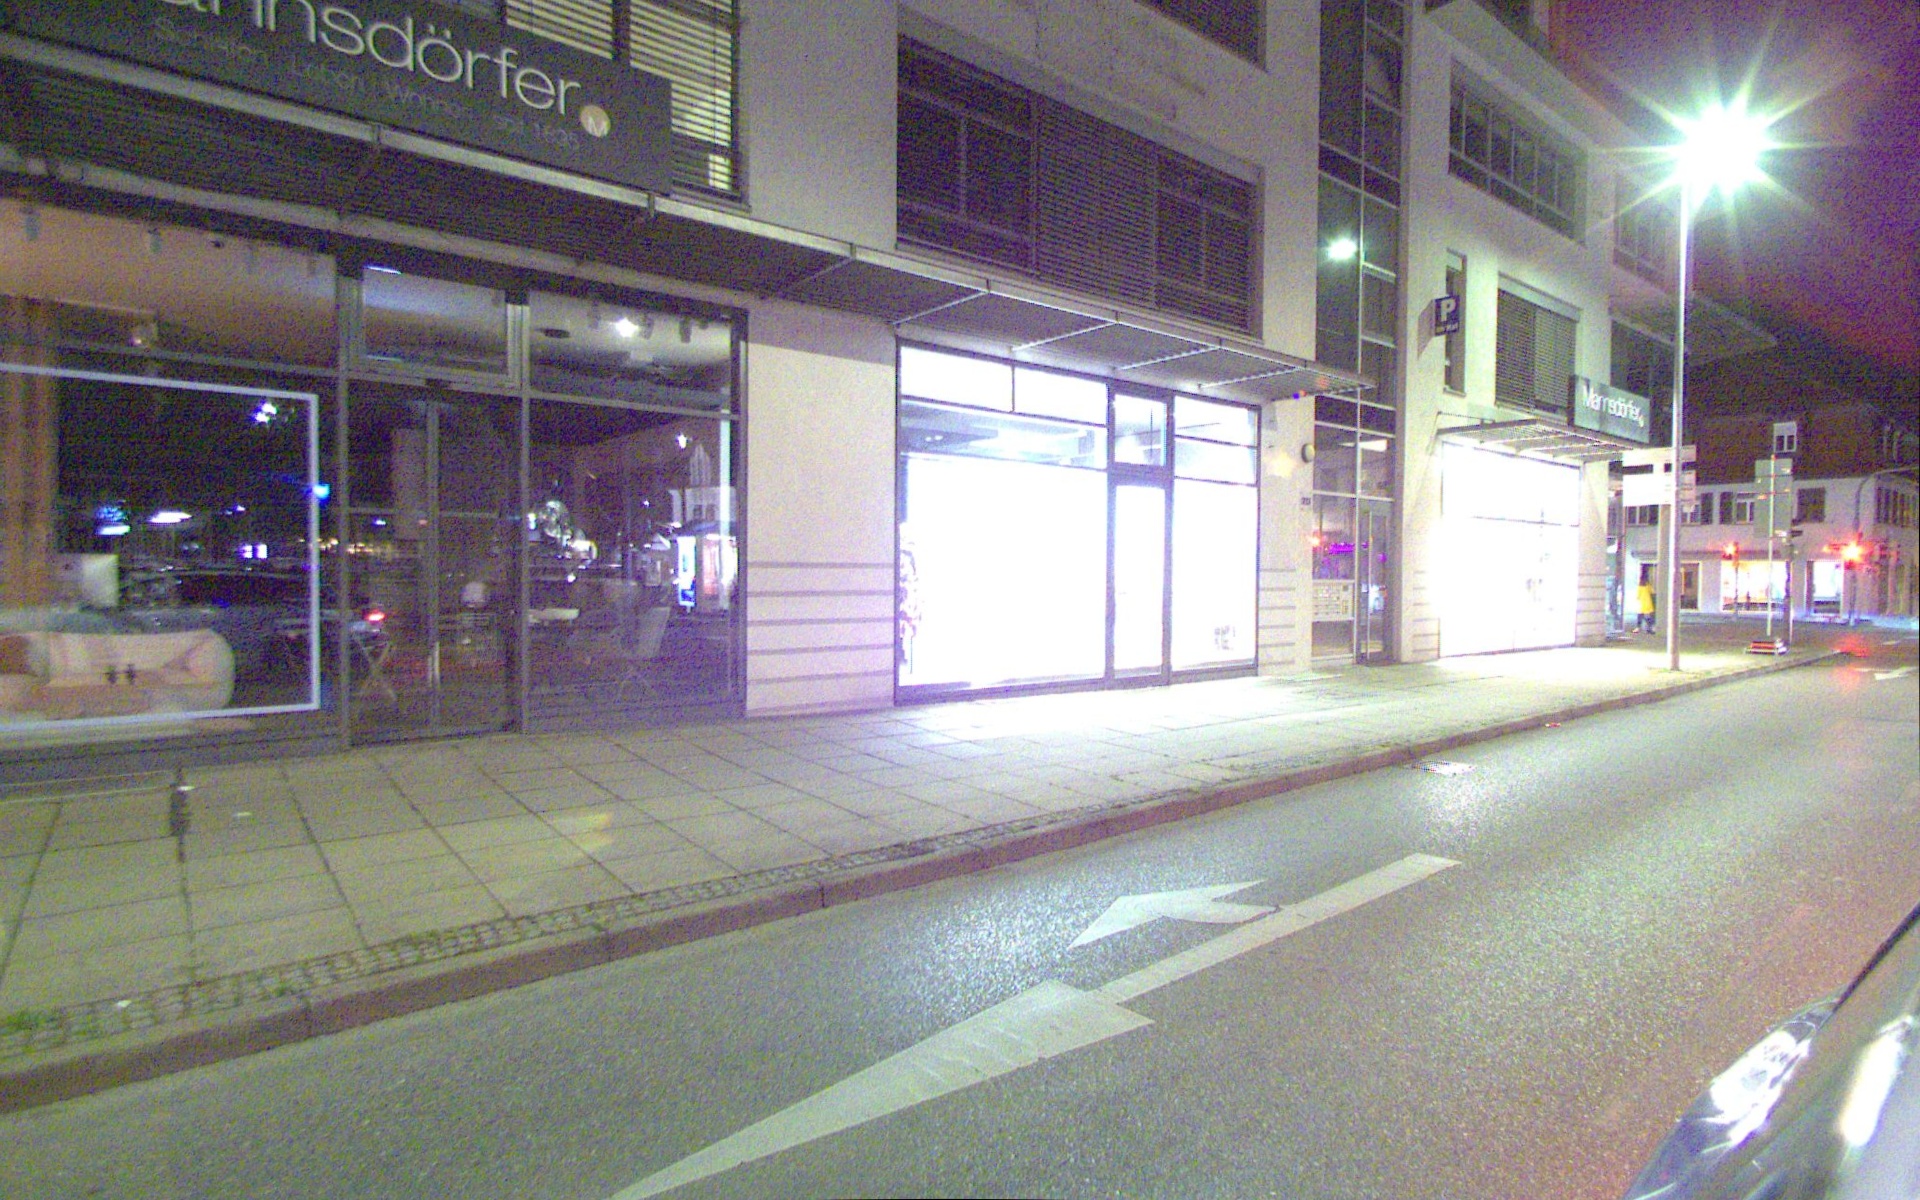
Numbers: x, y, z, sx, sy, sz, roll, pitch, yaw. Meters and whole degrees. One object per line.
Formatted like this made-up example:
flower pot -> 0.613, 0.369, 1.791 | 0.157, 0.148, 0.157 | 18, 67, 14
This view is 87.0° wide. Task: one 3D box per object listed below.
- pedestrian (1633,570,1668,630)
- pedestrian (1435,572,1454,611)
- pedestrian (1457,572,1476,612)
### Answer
pedestrian -> 19.867, -0.001, 29.118 | 0.634, 1.703, 0.541 | 0, 0, -19
pedestrian -> 21.725, -0.372, 45.397 | 0.556, 1.738, 0.567 | 0, 0, -34
pedestrian -> 22.194, -0.341, 44.337 | 0.556, 1.738, 0.524 | 0, 0, -35
